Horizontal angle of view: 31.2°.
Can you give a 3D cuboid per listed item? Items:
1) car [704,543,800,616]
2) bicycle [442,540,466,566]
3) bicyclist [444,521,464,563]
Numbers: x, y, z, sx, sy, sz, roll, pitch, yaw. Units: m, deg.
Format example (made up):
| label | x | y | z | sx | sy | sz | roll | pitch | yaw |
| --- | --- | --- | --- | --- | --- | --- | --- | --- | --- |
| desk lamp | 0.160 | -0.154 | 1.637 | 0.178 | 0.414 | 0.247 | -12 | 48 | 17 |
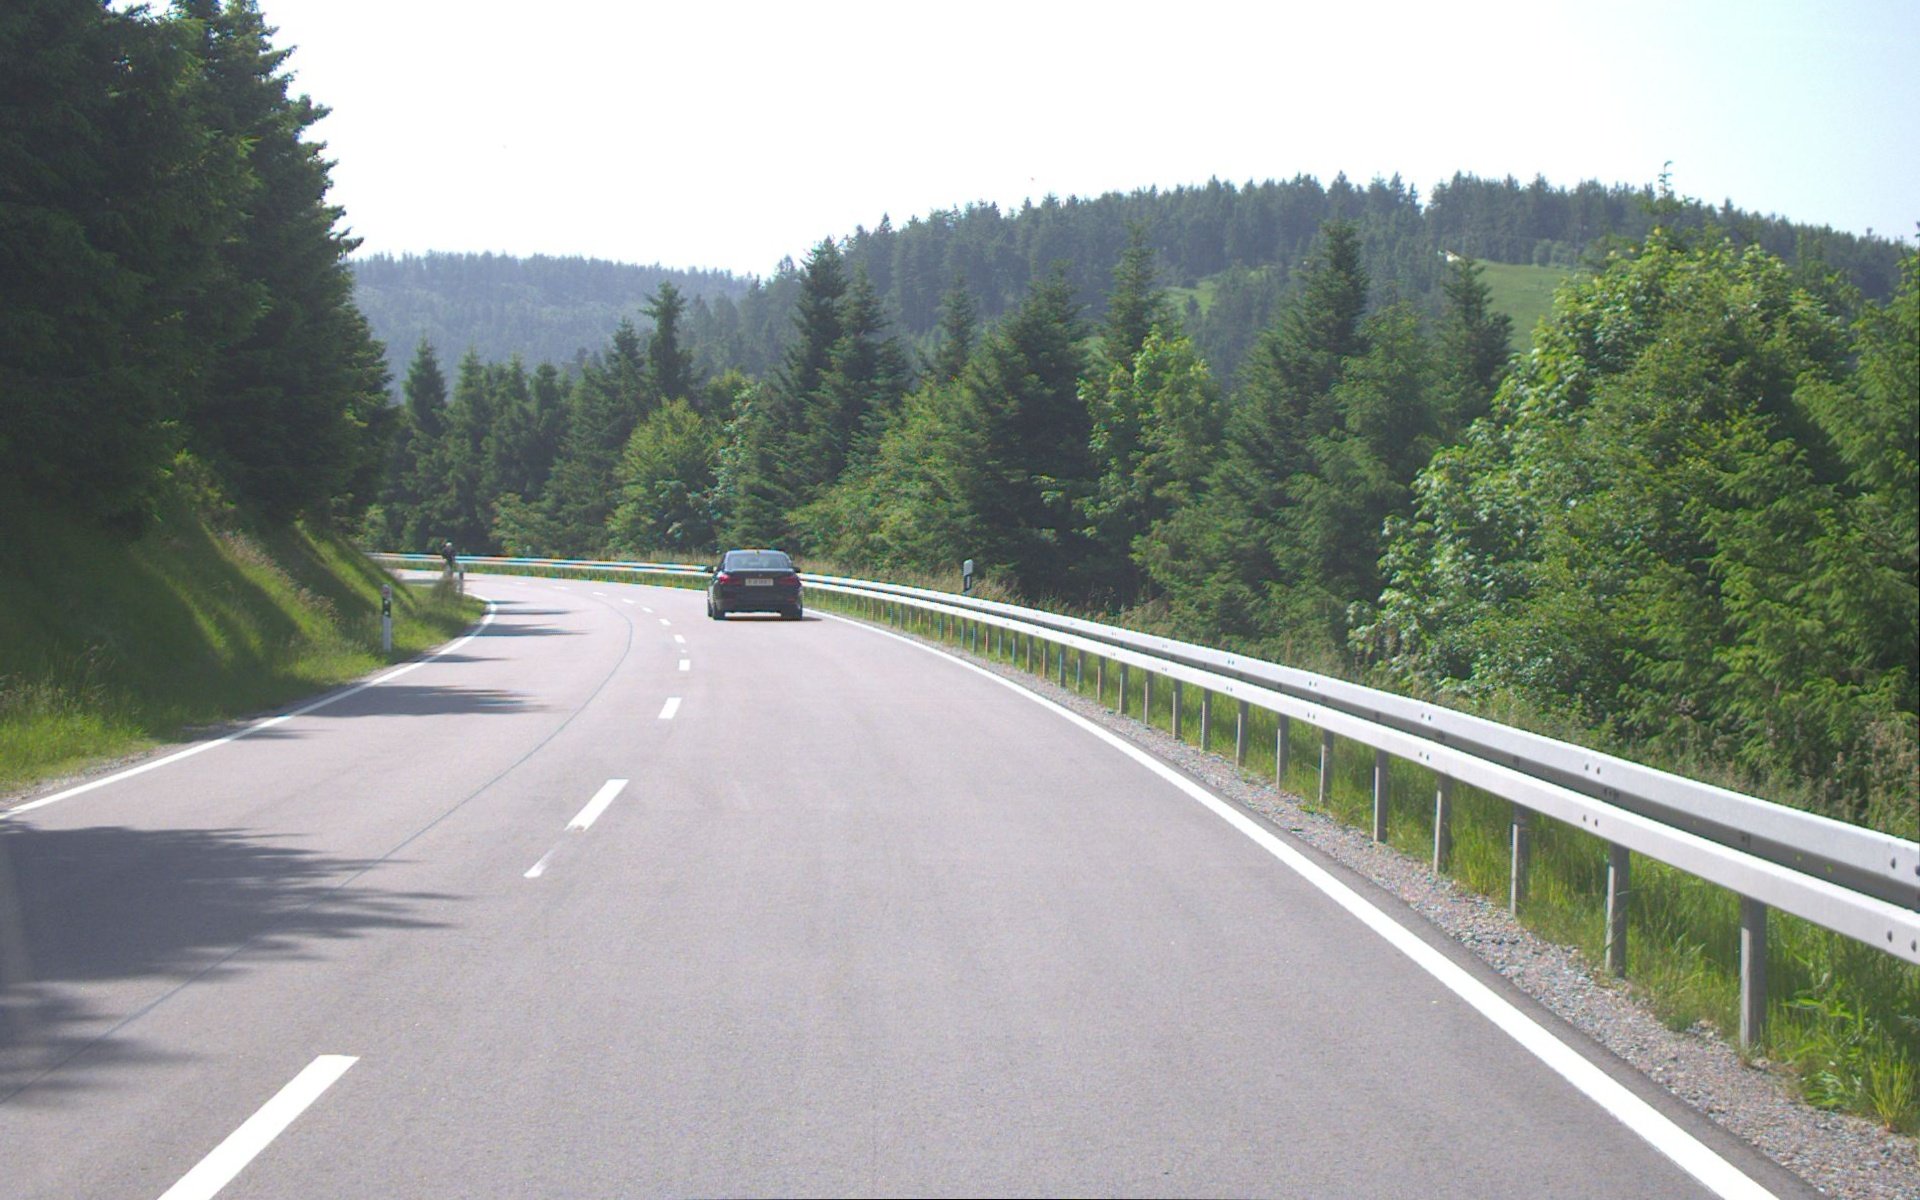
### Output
| label | x | y | z | sx | sy | sz | roll | pitch | yaw |
| --- | --- | --- | --- | --- | --- | --- | --- | --- | --- |
| car | -4.273 | -0.438 | 70.137 | 1.775 | 1.437 | 3.710 | 1 | 1 | -6 |
| bicycle | -17.418 | -1.625 | 118.322 | 0.553 | 0.883 | 2.063 | -1 | 1 | -15 |
| bicyclist | -17.414 | -1.999 | 118.224 | 0.541 | 1.446 | 0.984 | -1 | 1 | -15 |
